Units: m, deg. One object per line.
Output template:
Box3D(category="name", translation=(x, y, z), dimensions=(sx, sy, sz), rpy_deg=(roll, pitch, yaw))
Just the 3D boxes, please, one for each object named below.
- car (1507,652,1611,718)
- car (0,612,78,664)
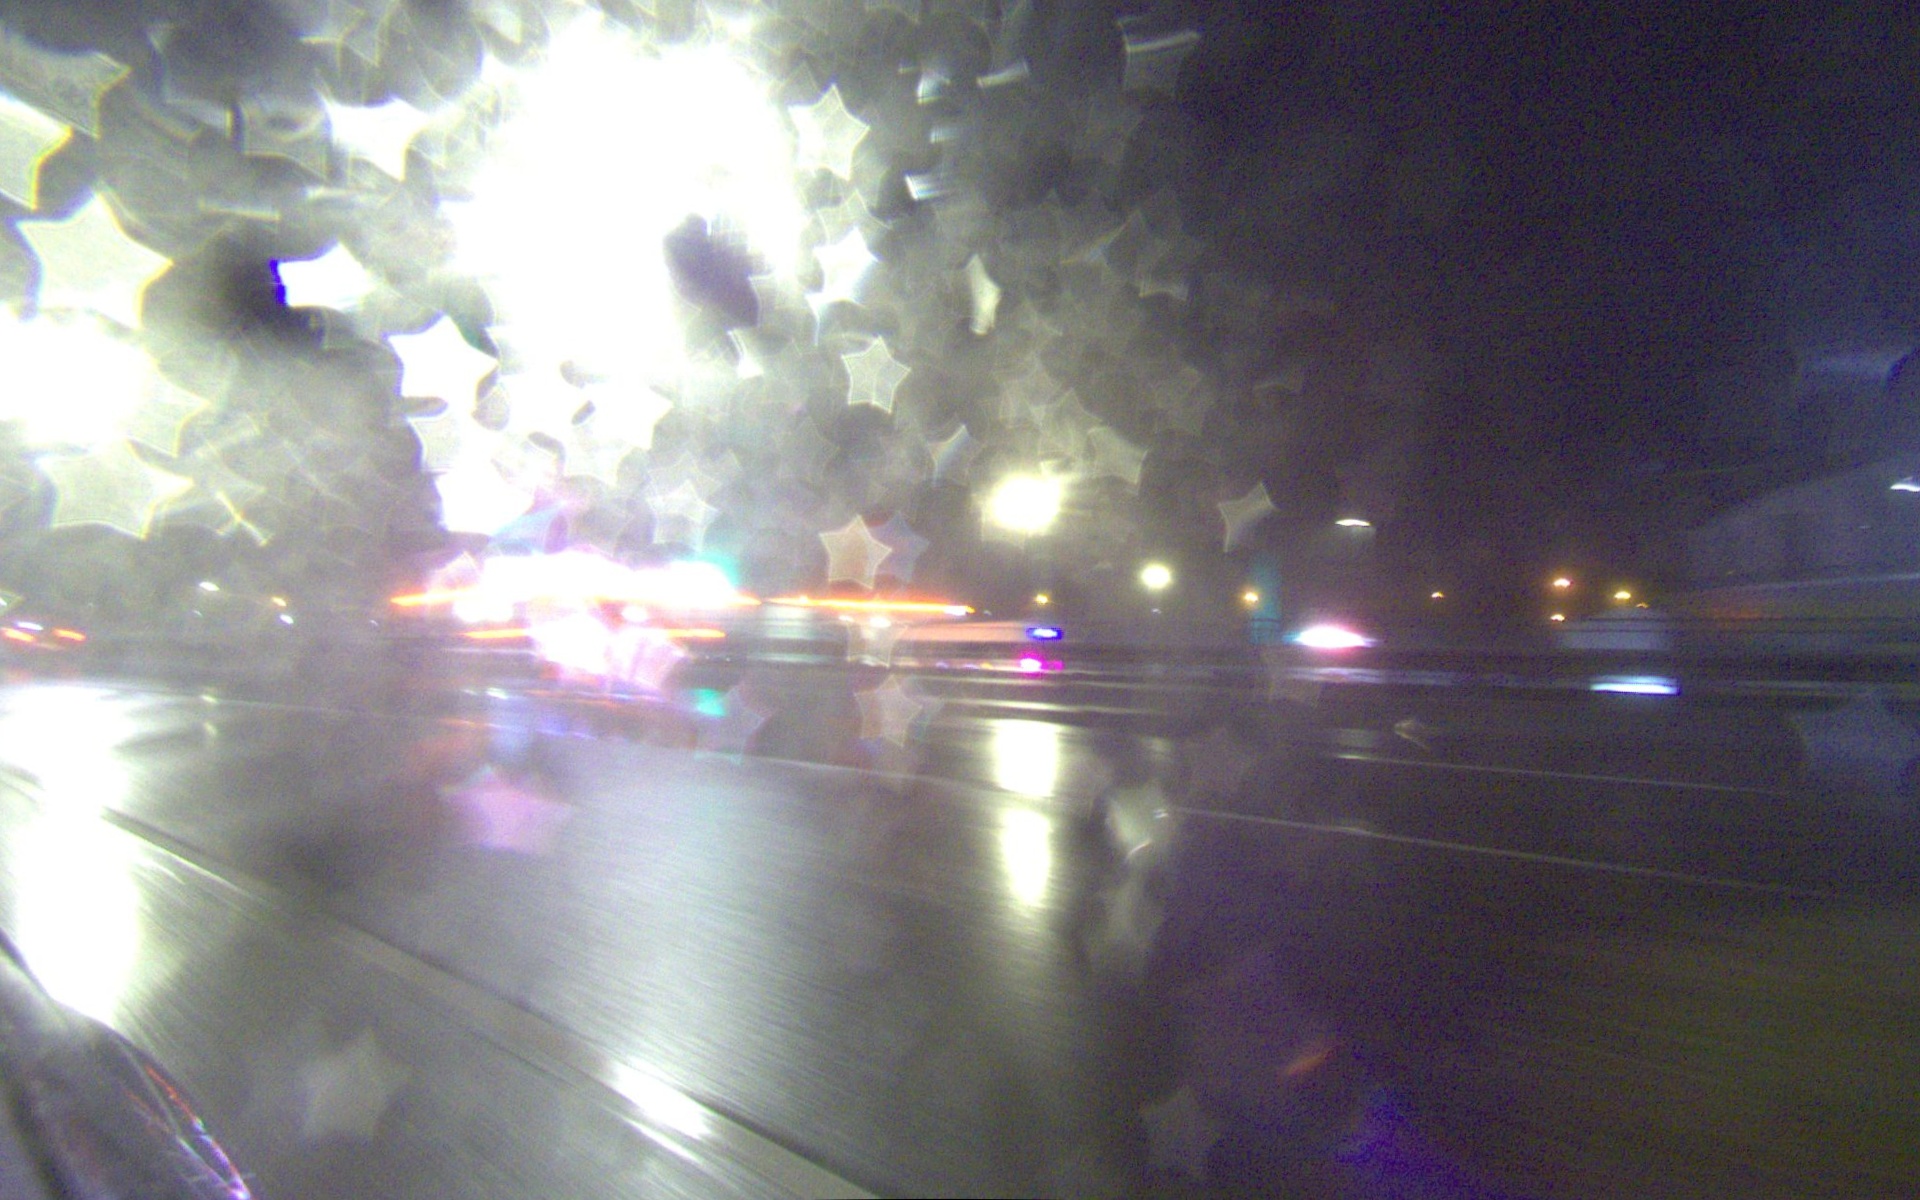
Box3D(category="car", translation=(17.206, 2.417, 28.994), dimensions=(1.799, 1.736, 4.369), rpy_deg=(-2, -5, 41))
Box3D(category="car", translation=(-29.172, 1.140, 31.233), dimensions=(3.936, 1.468, 1.753), rpy_deg=(-1, 0, 30))
